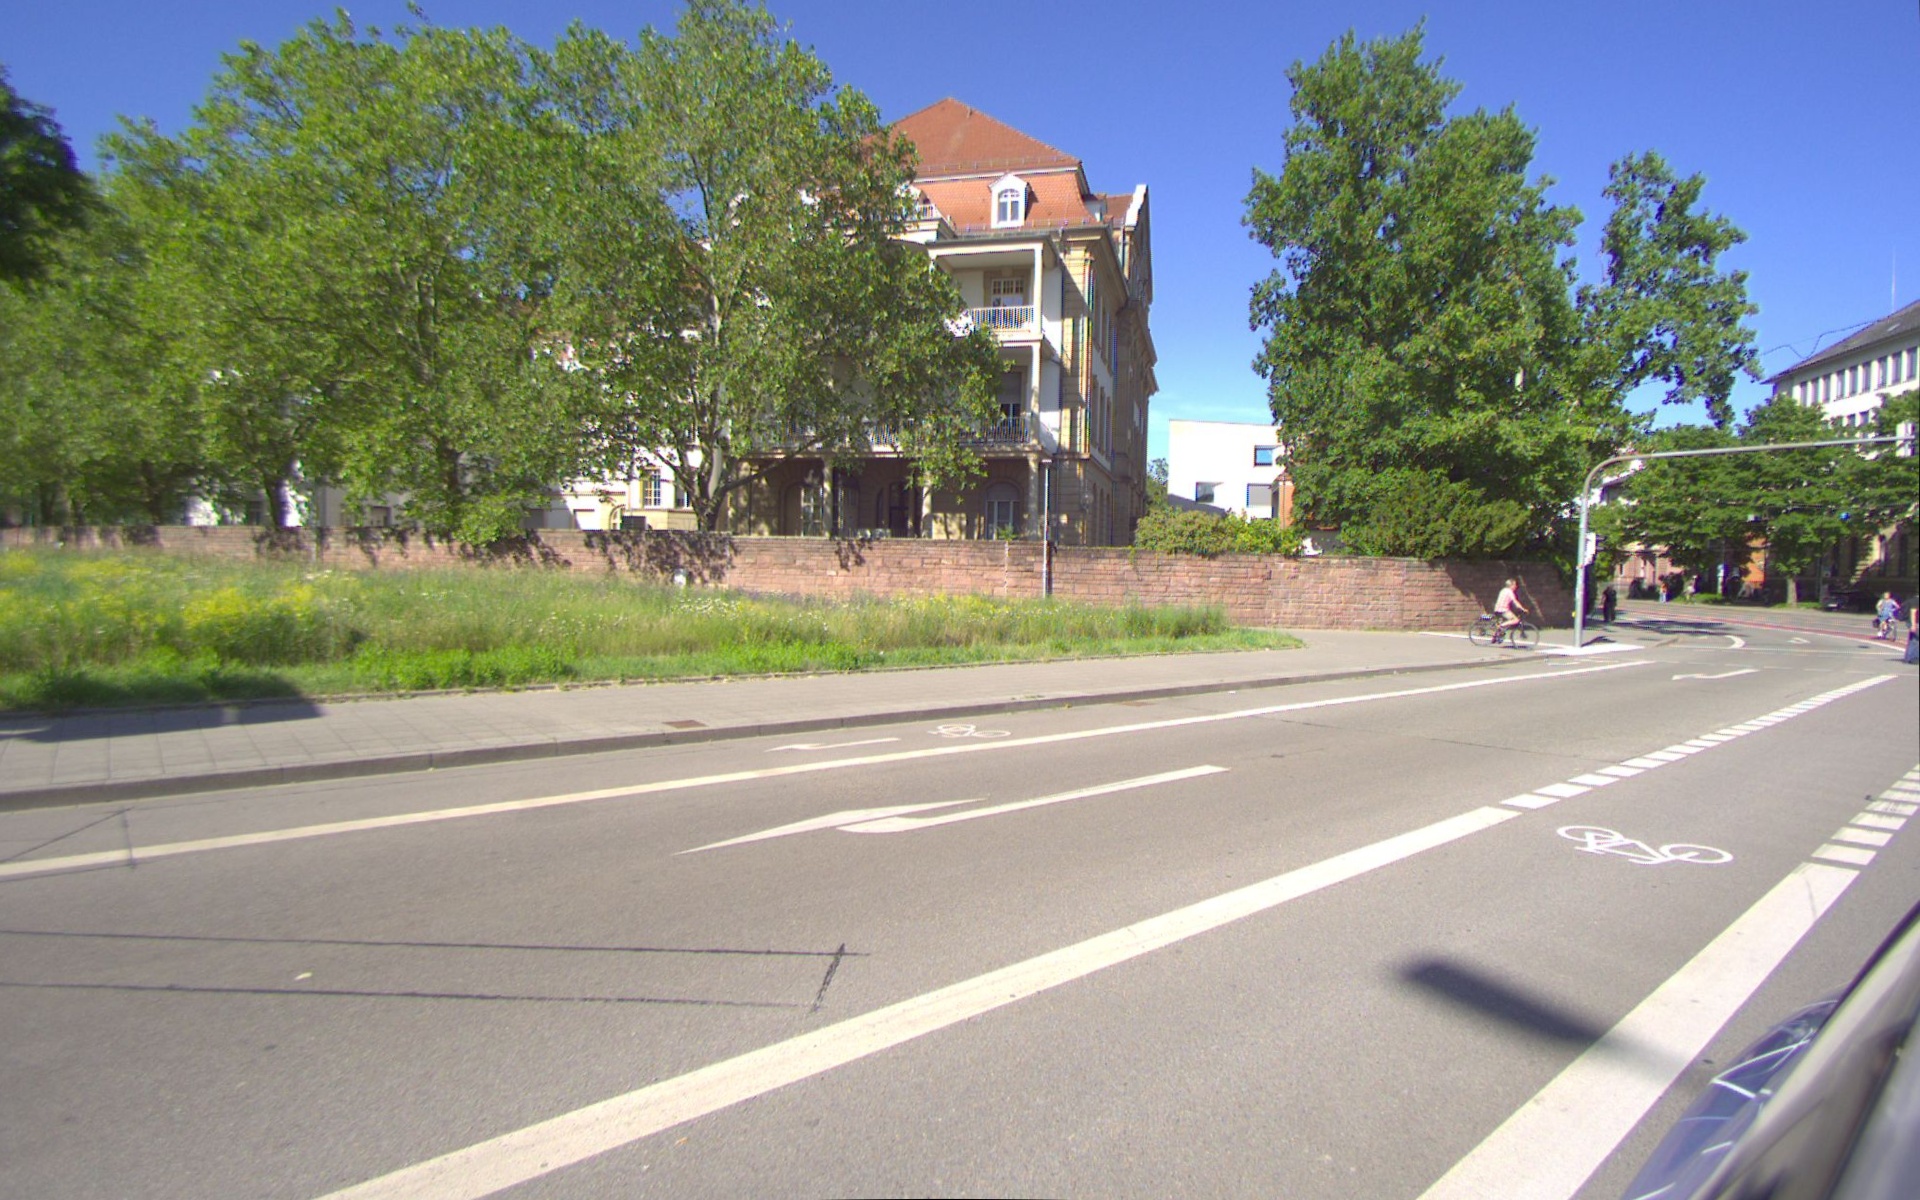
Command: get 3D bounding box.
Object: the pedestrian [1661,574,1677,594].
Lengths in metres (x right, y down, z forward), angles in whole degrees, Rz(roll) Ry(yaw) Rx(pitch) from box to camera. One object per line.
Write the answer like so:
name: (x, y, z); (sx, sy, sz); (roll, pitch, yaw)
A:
pedestrian: (64.188, -1.447, 91.586); (0.745, 1.835, 0.978); (1, 1, 9)

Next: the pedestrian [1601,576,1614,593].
pedestrian: (69.826, -1.708, 109.139); (0.745, 1.835, 0.978); (1, 1, 10)

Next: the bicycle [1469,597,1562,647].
bicycle: (14.105, 0.540, 25.728); (1.853, 1.083, 0.723); (5, 1, 8)

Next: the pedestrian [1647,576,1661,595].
pedestrian: (67.720, -1.425, 98.733); (0.745, 1.836, 0.977); (2, -2, 11)

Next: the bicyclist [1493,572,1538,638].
bicyclist: (14.107, 0.116, 25.727); (0.765, 1.626, 0.721); (1, 1, 9)

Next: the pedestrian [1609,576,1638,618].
pedestrian: (28.167, -0.124, 42.991); (0.935, 1.742, 0.983); (2, 2, 37)

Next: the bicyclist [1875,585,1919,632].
bicyclist: (32.994, 0.275, 35.510); (0.859, 1.579, 1.272); (2, 2, 20)

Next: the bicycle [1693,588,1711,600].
bicycle: (60.222, -0.493, 82.153); (0.593, 1.019, 1.975); (0, 1, 20)

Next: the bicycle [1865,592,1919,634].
bicycle: (32.916, 0.437, 35.480); (0.753, 1.385, 2.720); (2, 2, 20)

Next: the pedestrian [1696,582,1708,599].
pedestrian: (60.182, -0.763, 82.084); (0.589, 1.420, 0.641); (0, 0, 21)

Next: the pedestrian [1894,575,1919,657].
pedestrian: (22.738, 0.385, 23.796); (0.718, 1.872, 0.961); (0, 3, -39)

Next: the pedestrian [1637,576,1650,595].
pedestrian: (66.833, -1.423, 98.945); (0.745, 1.836, 0.977); (2, -2, 10)
